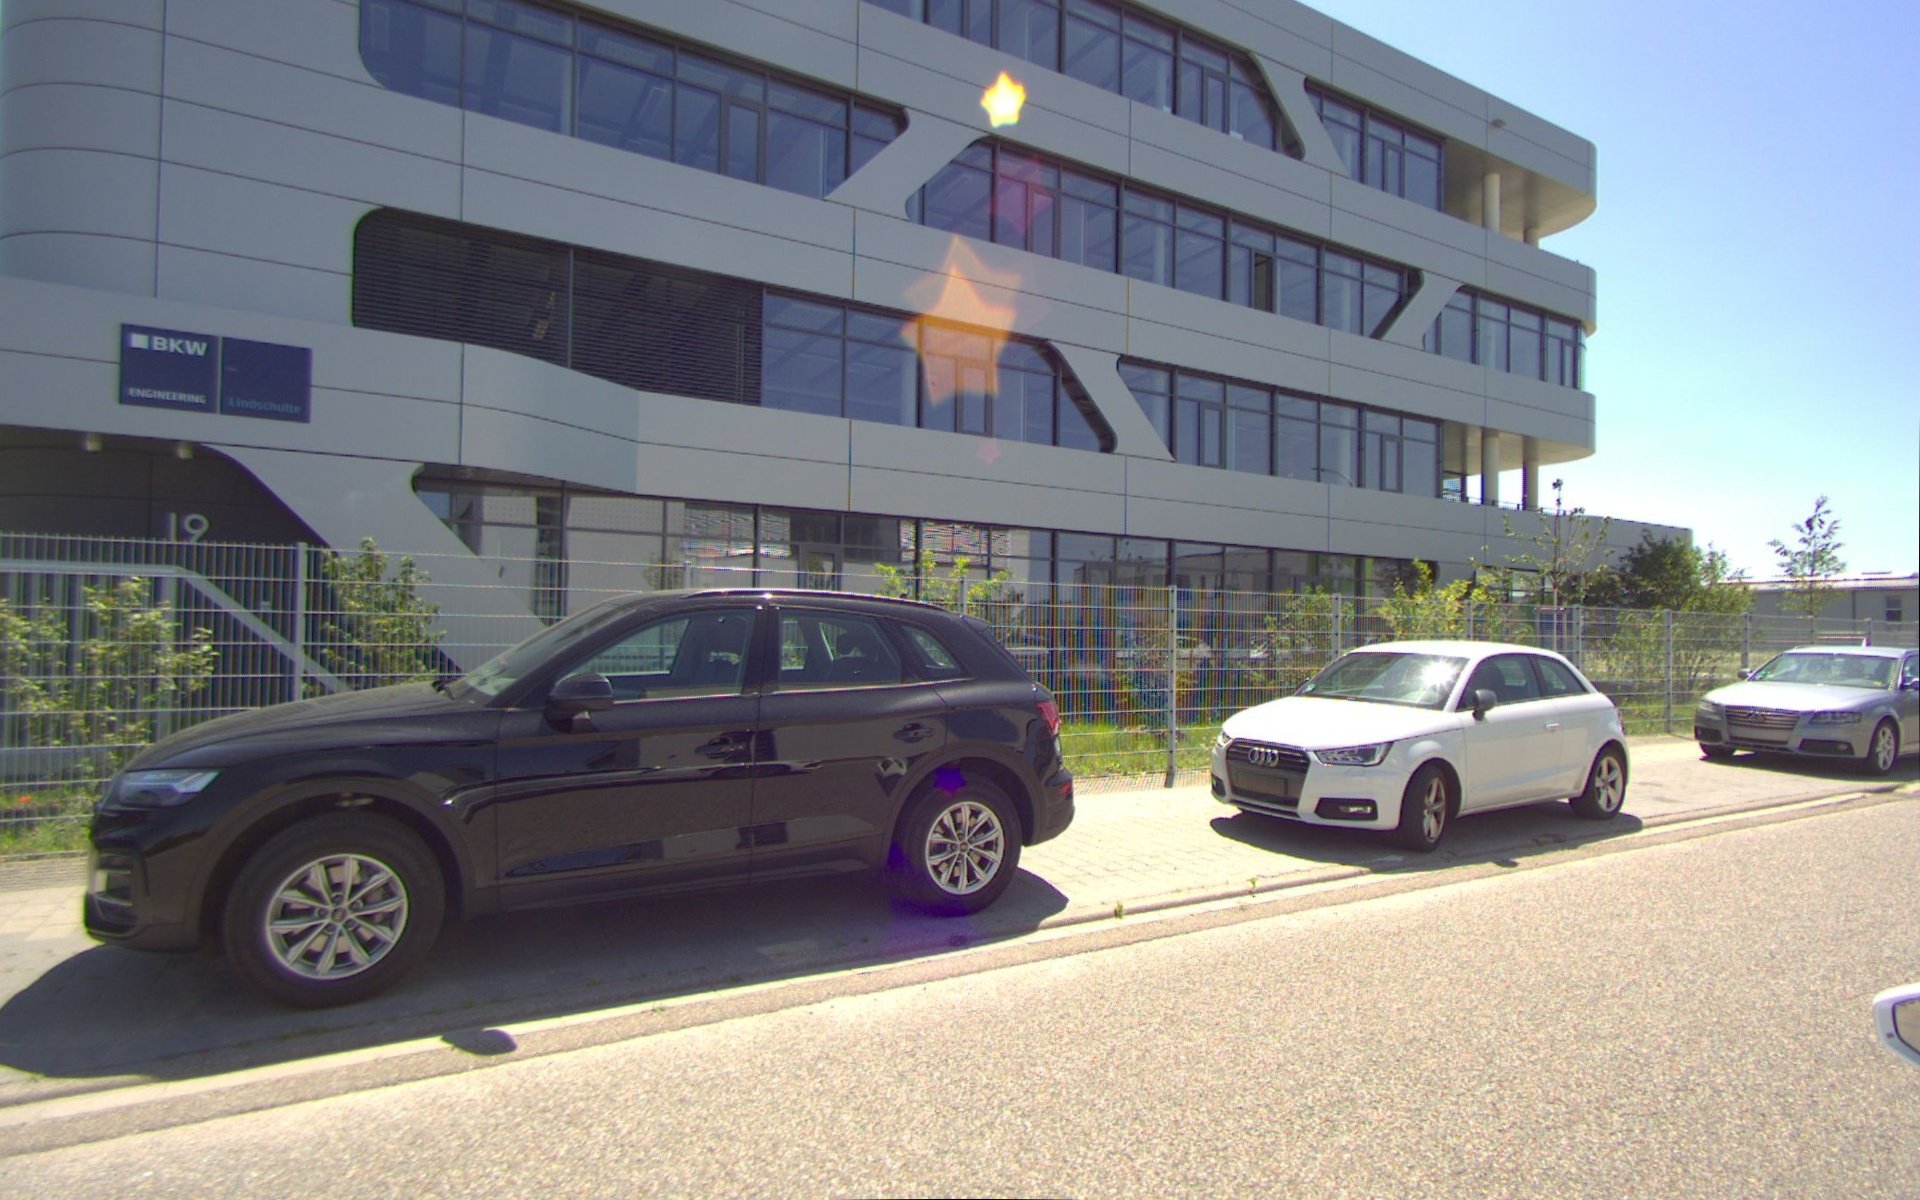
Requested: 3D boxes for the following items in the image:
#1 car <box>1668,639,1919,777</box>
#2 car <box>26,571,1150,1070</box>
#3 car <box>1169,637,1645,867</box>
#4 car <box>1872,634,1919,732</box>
[{"bbox_3d":[10.938,1.218,12.525,4.583,1.404,1.676,1,-1,-30],"label":"car"},{"bbox_3d":[-1.434,0.791,5.311,4.790,1.673,1.762,1,-1,-29],"label":"car"},{"bbox_3d":[3.702,1.027,8.127,3.895,1.404,1.689,1,-1,-33],"label":"car"},{"bbox_3d":[16.495,1.316,16.029,4.389,1.463,1.694,2,-1,-31],"label":"car"}]
